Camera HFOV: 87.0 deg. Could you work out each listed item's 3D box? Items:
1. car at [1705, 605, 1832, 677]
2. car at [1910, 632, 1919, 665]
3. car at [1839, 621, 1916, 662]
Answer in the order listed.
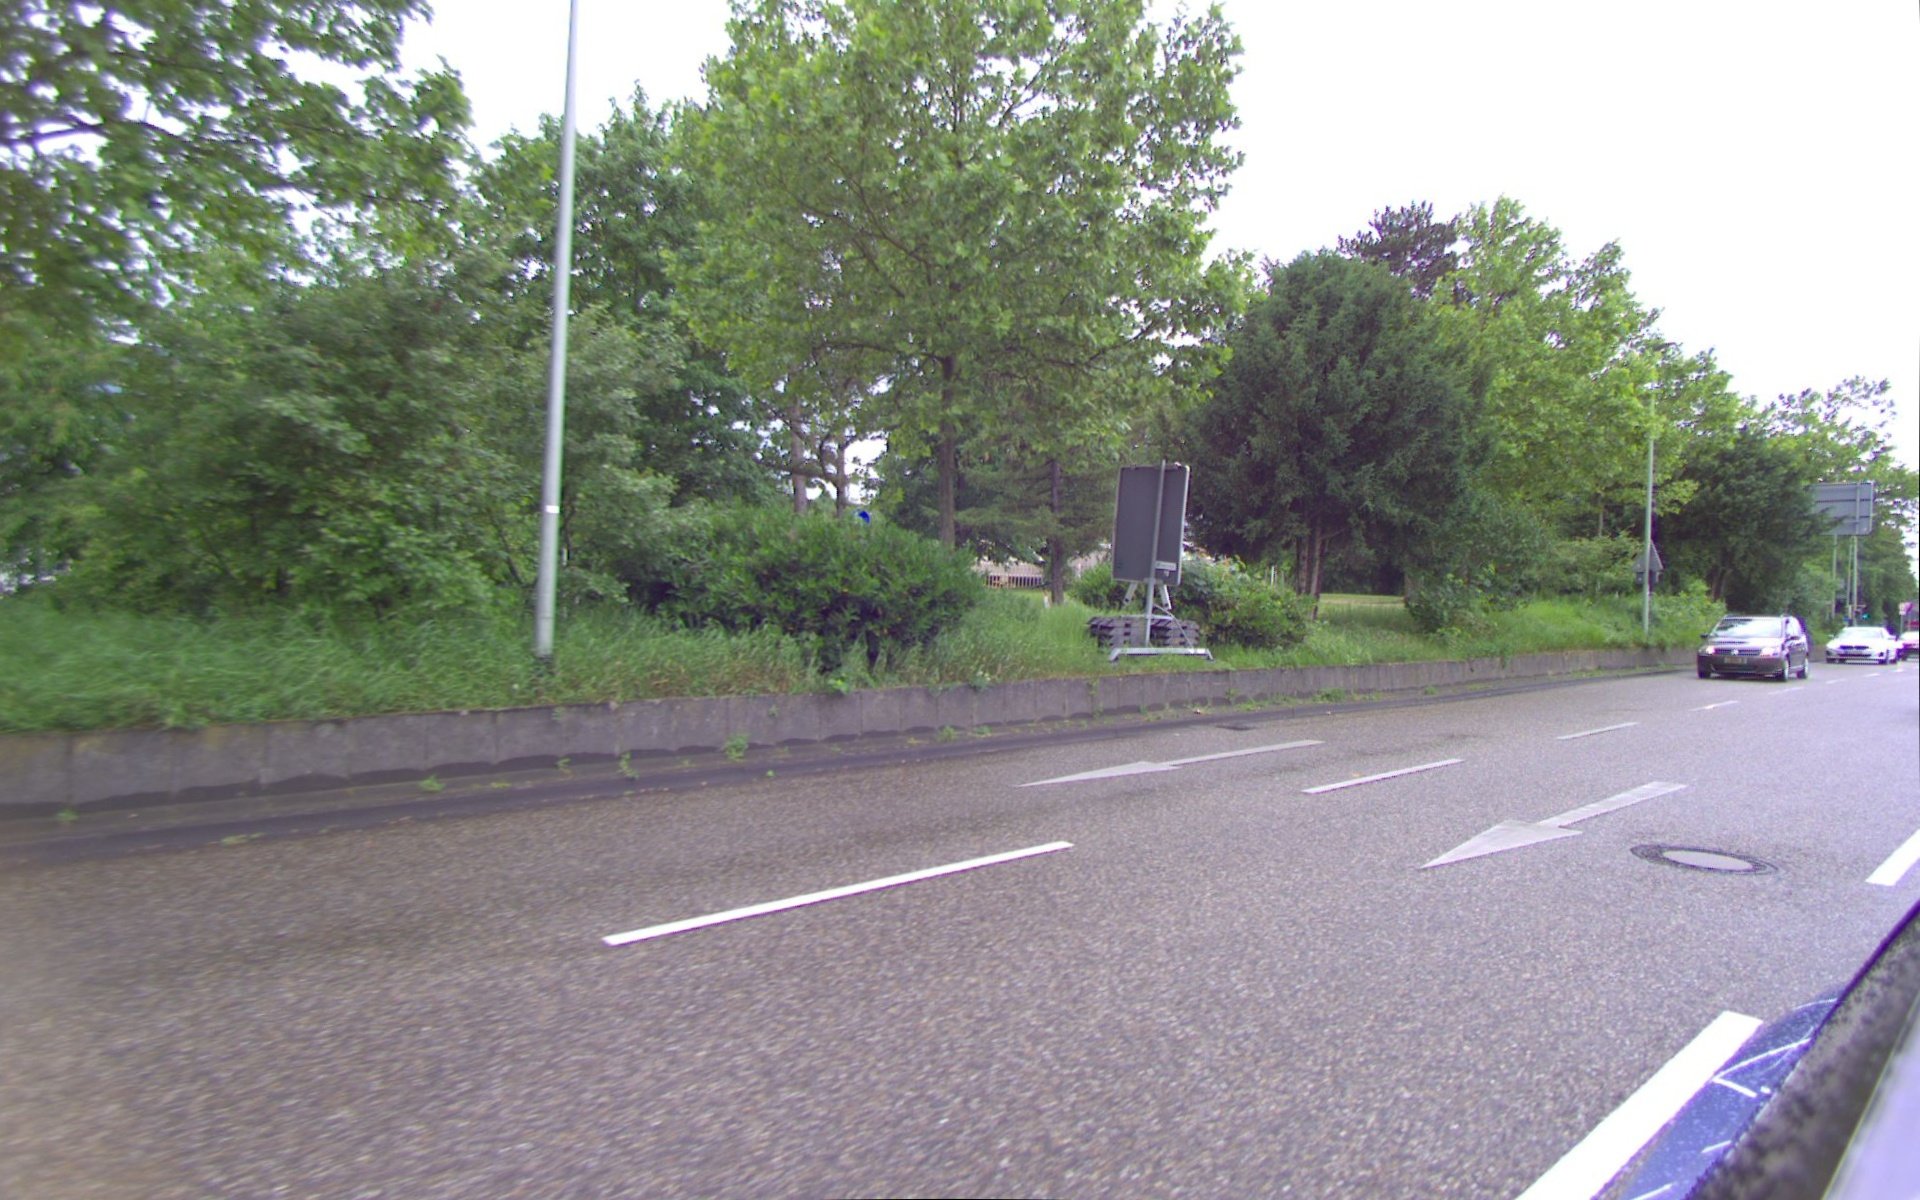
[{"bbox_3d":[20.217,1.023,25.262,3.909,1.630,1.750,3,-1,-40],"label":"car"},{"bbox_3d":[45.255,2.295,46.795,3.476,1.475,1.632,3,-1,-42],"label":"car"},{"bbox_3d":[36.175,1.635,39.868,4.598,1.475,1.782,3,-1,-42],"label":"car"}]
